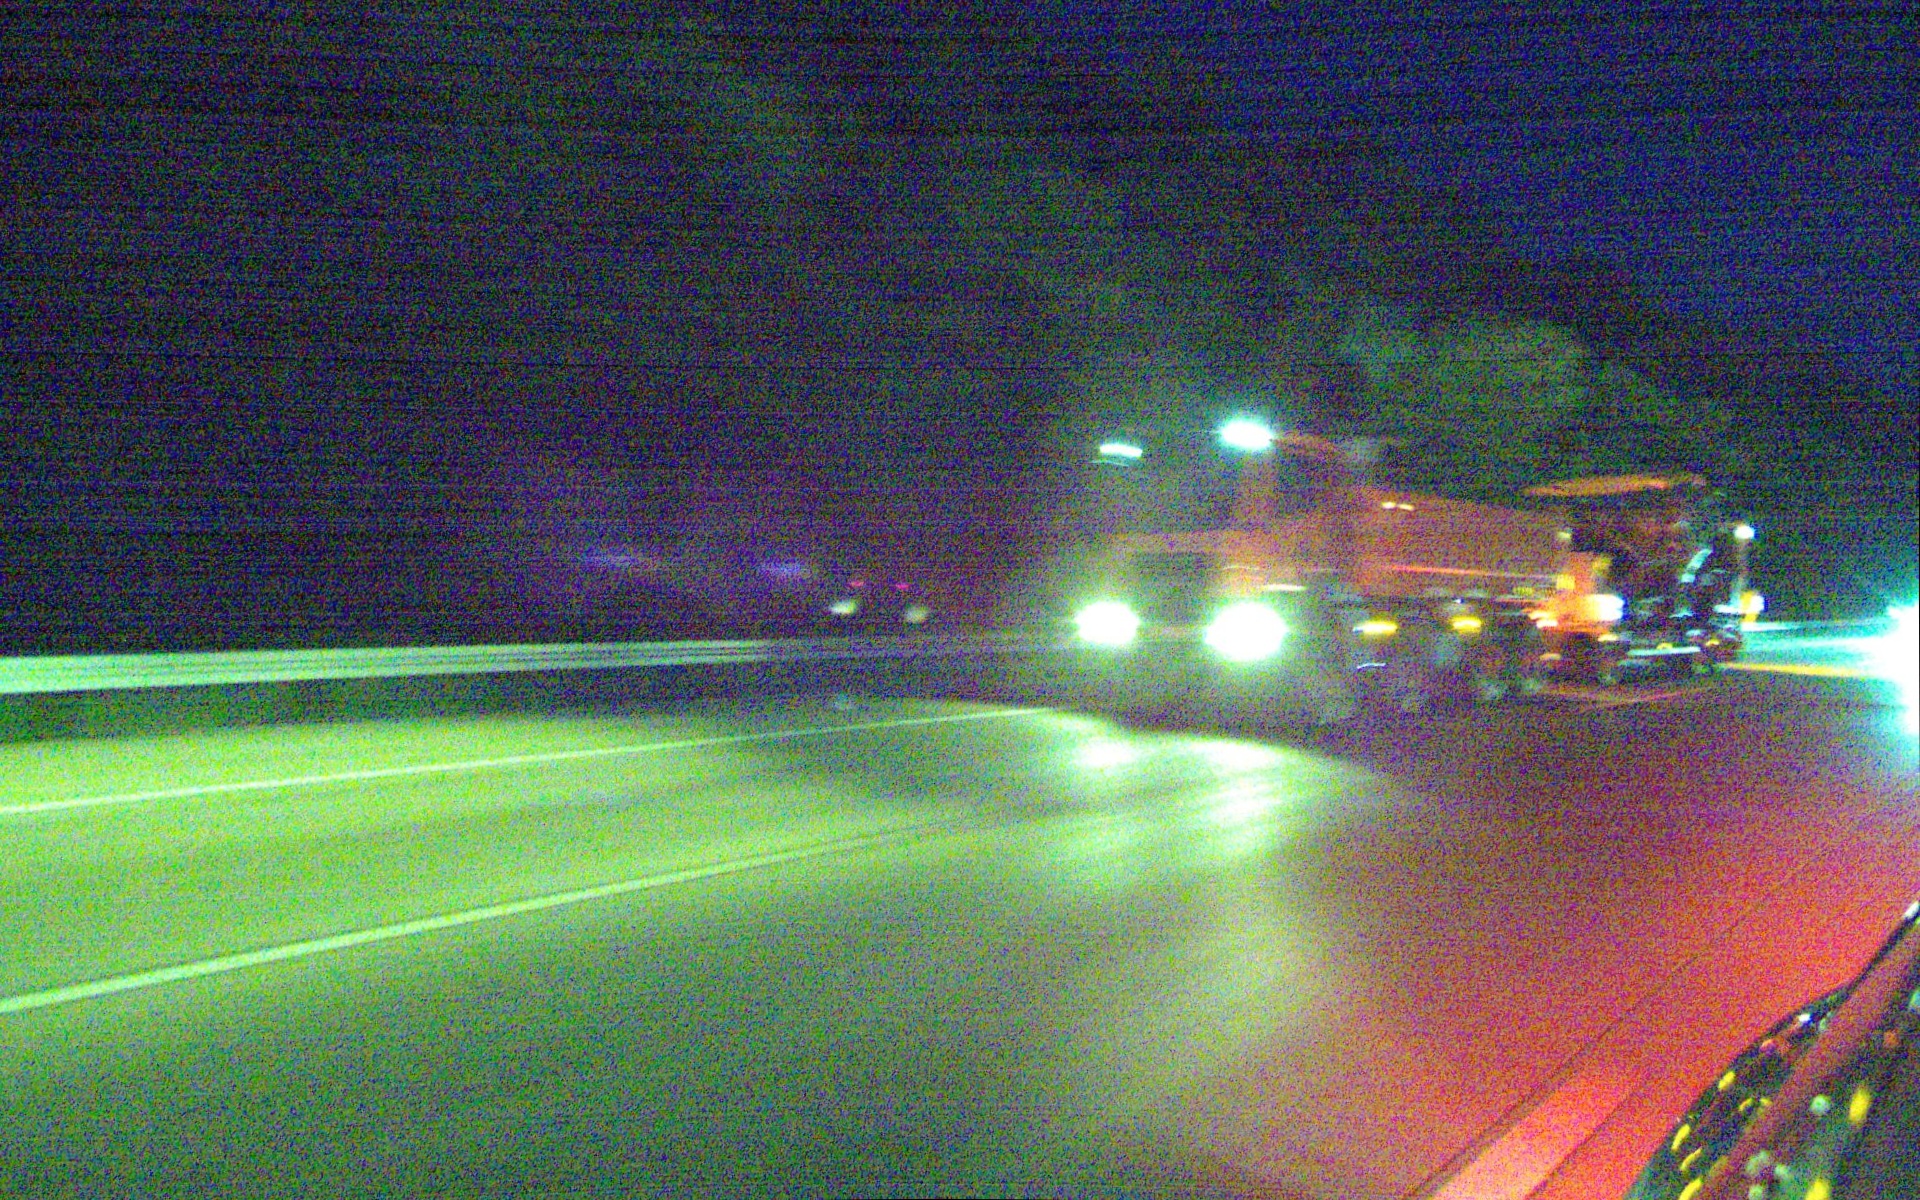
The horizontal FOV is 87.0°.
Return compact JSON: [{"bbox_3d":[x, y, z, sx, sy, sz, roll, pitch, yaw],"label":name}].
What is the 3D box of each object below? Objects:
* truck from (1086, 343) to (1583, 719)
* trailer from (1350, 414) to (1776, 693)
[{"bbox_3d":[5.542,-0.718,14.088,7.909,3.889,2.873,0,0,-39],"label":"truck"},{"bbox_3d":[12.261,-0.775,19.565,12.656,3.981,2.881,-1,1,-39],"label":"trailer"}]
